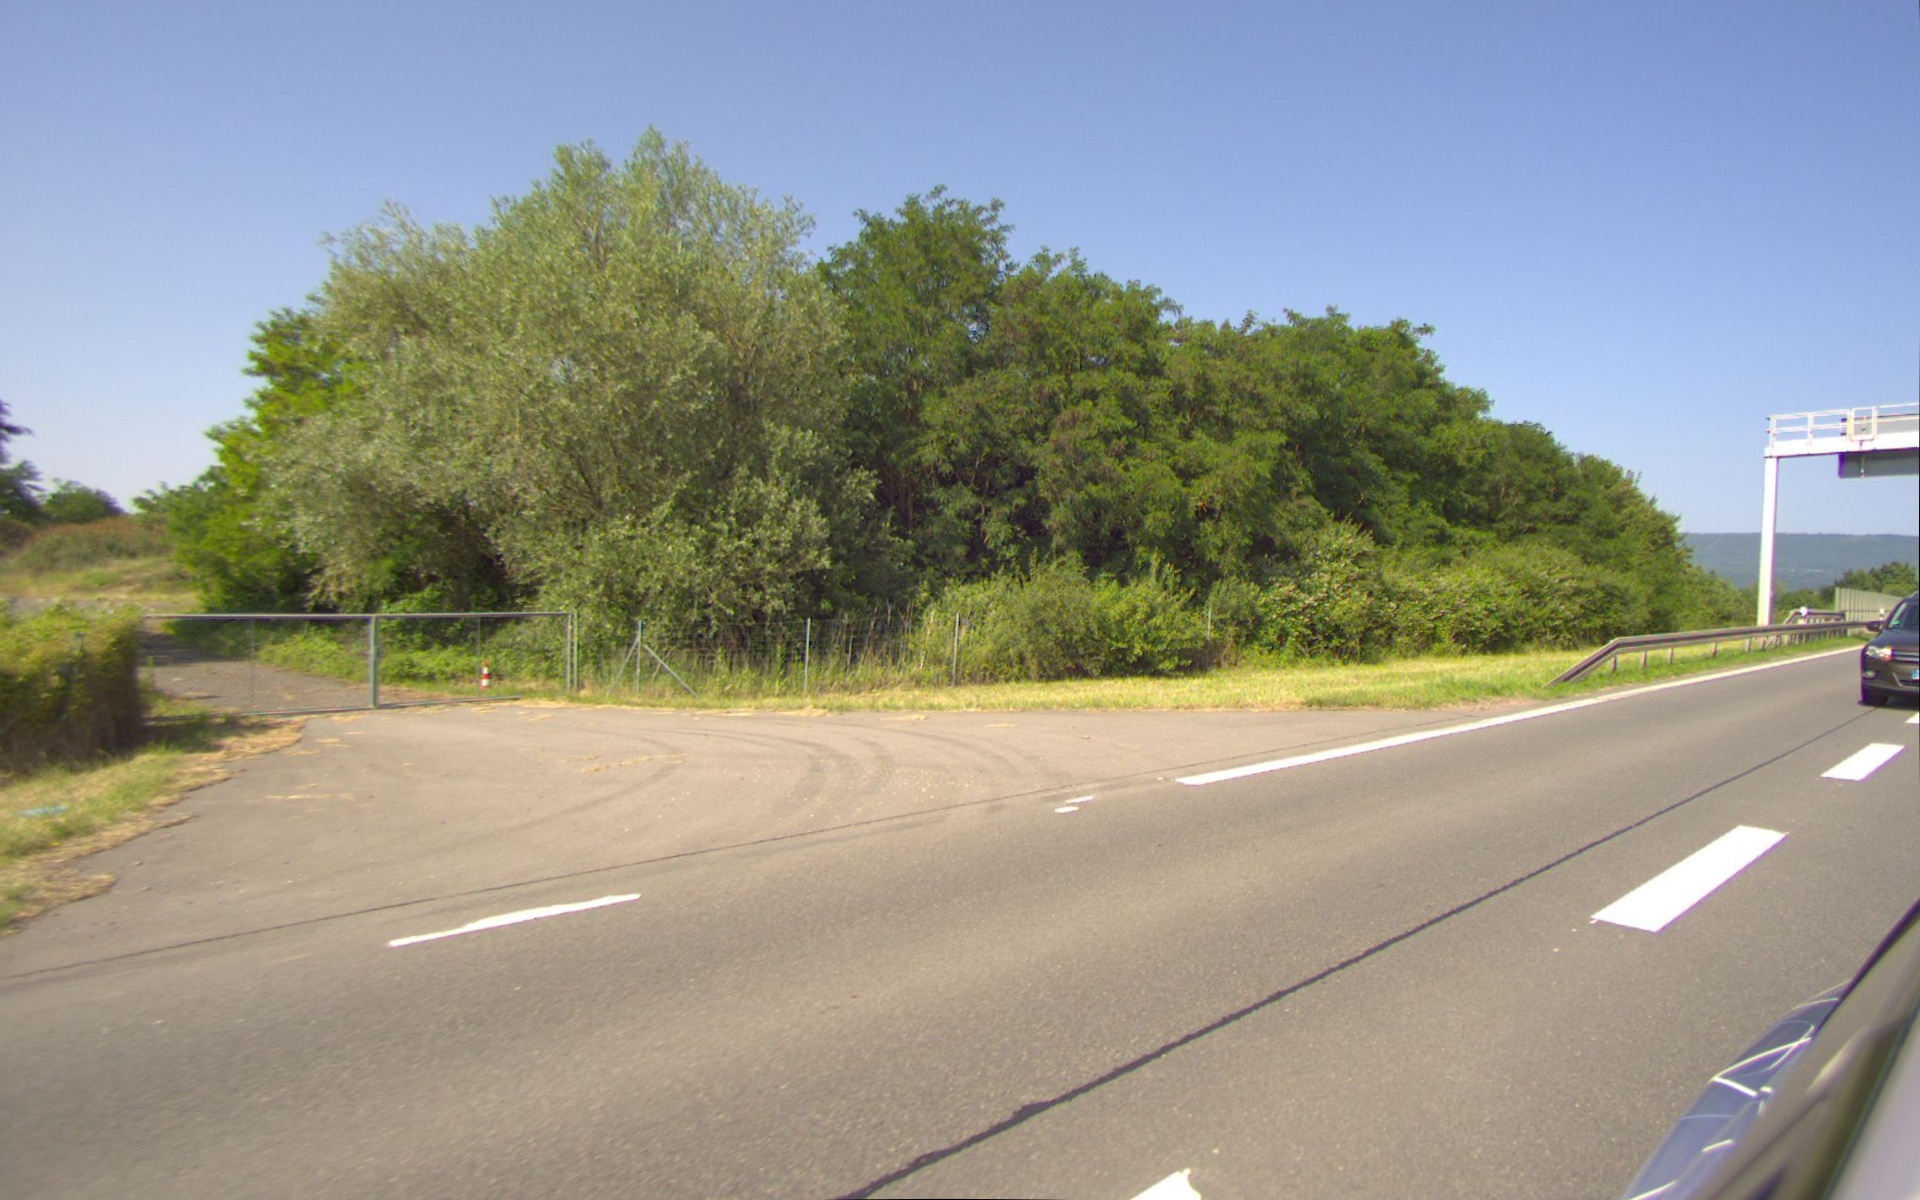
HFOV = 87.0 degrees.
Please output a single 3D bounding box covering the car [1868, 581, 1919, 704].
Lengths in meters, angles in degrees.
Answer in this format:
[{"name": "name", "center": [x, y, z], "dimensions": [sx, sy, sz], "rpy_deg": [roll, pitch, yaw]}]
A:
[{"name": "car", "center": [14.808, 0.600, 14.770], "dimensions": [4.074, 1.667, 1.789], "rpy_deg": [1, 0, -40]}]
